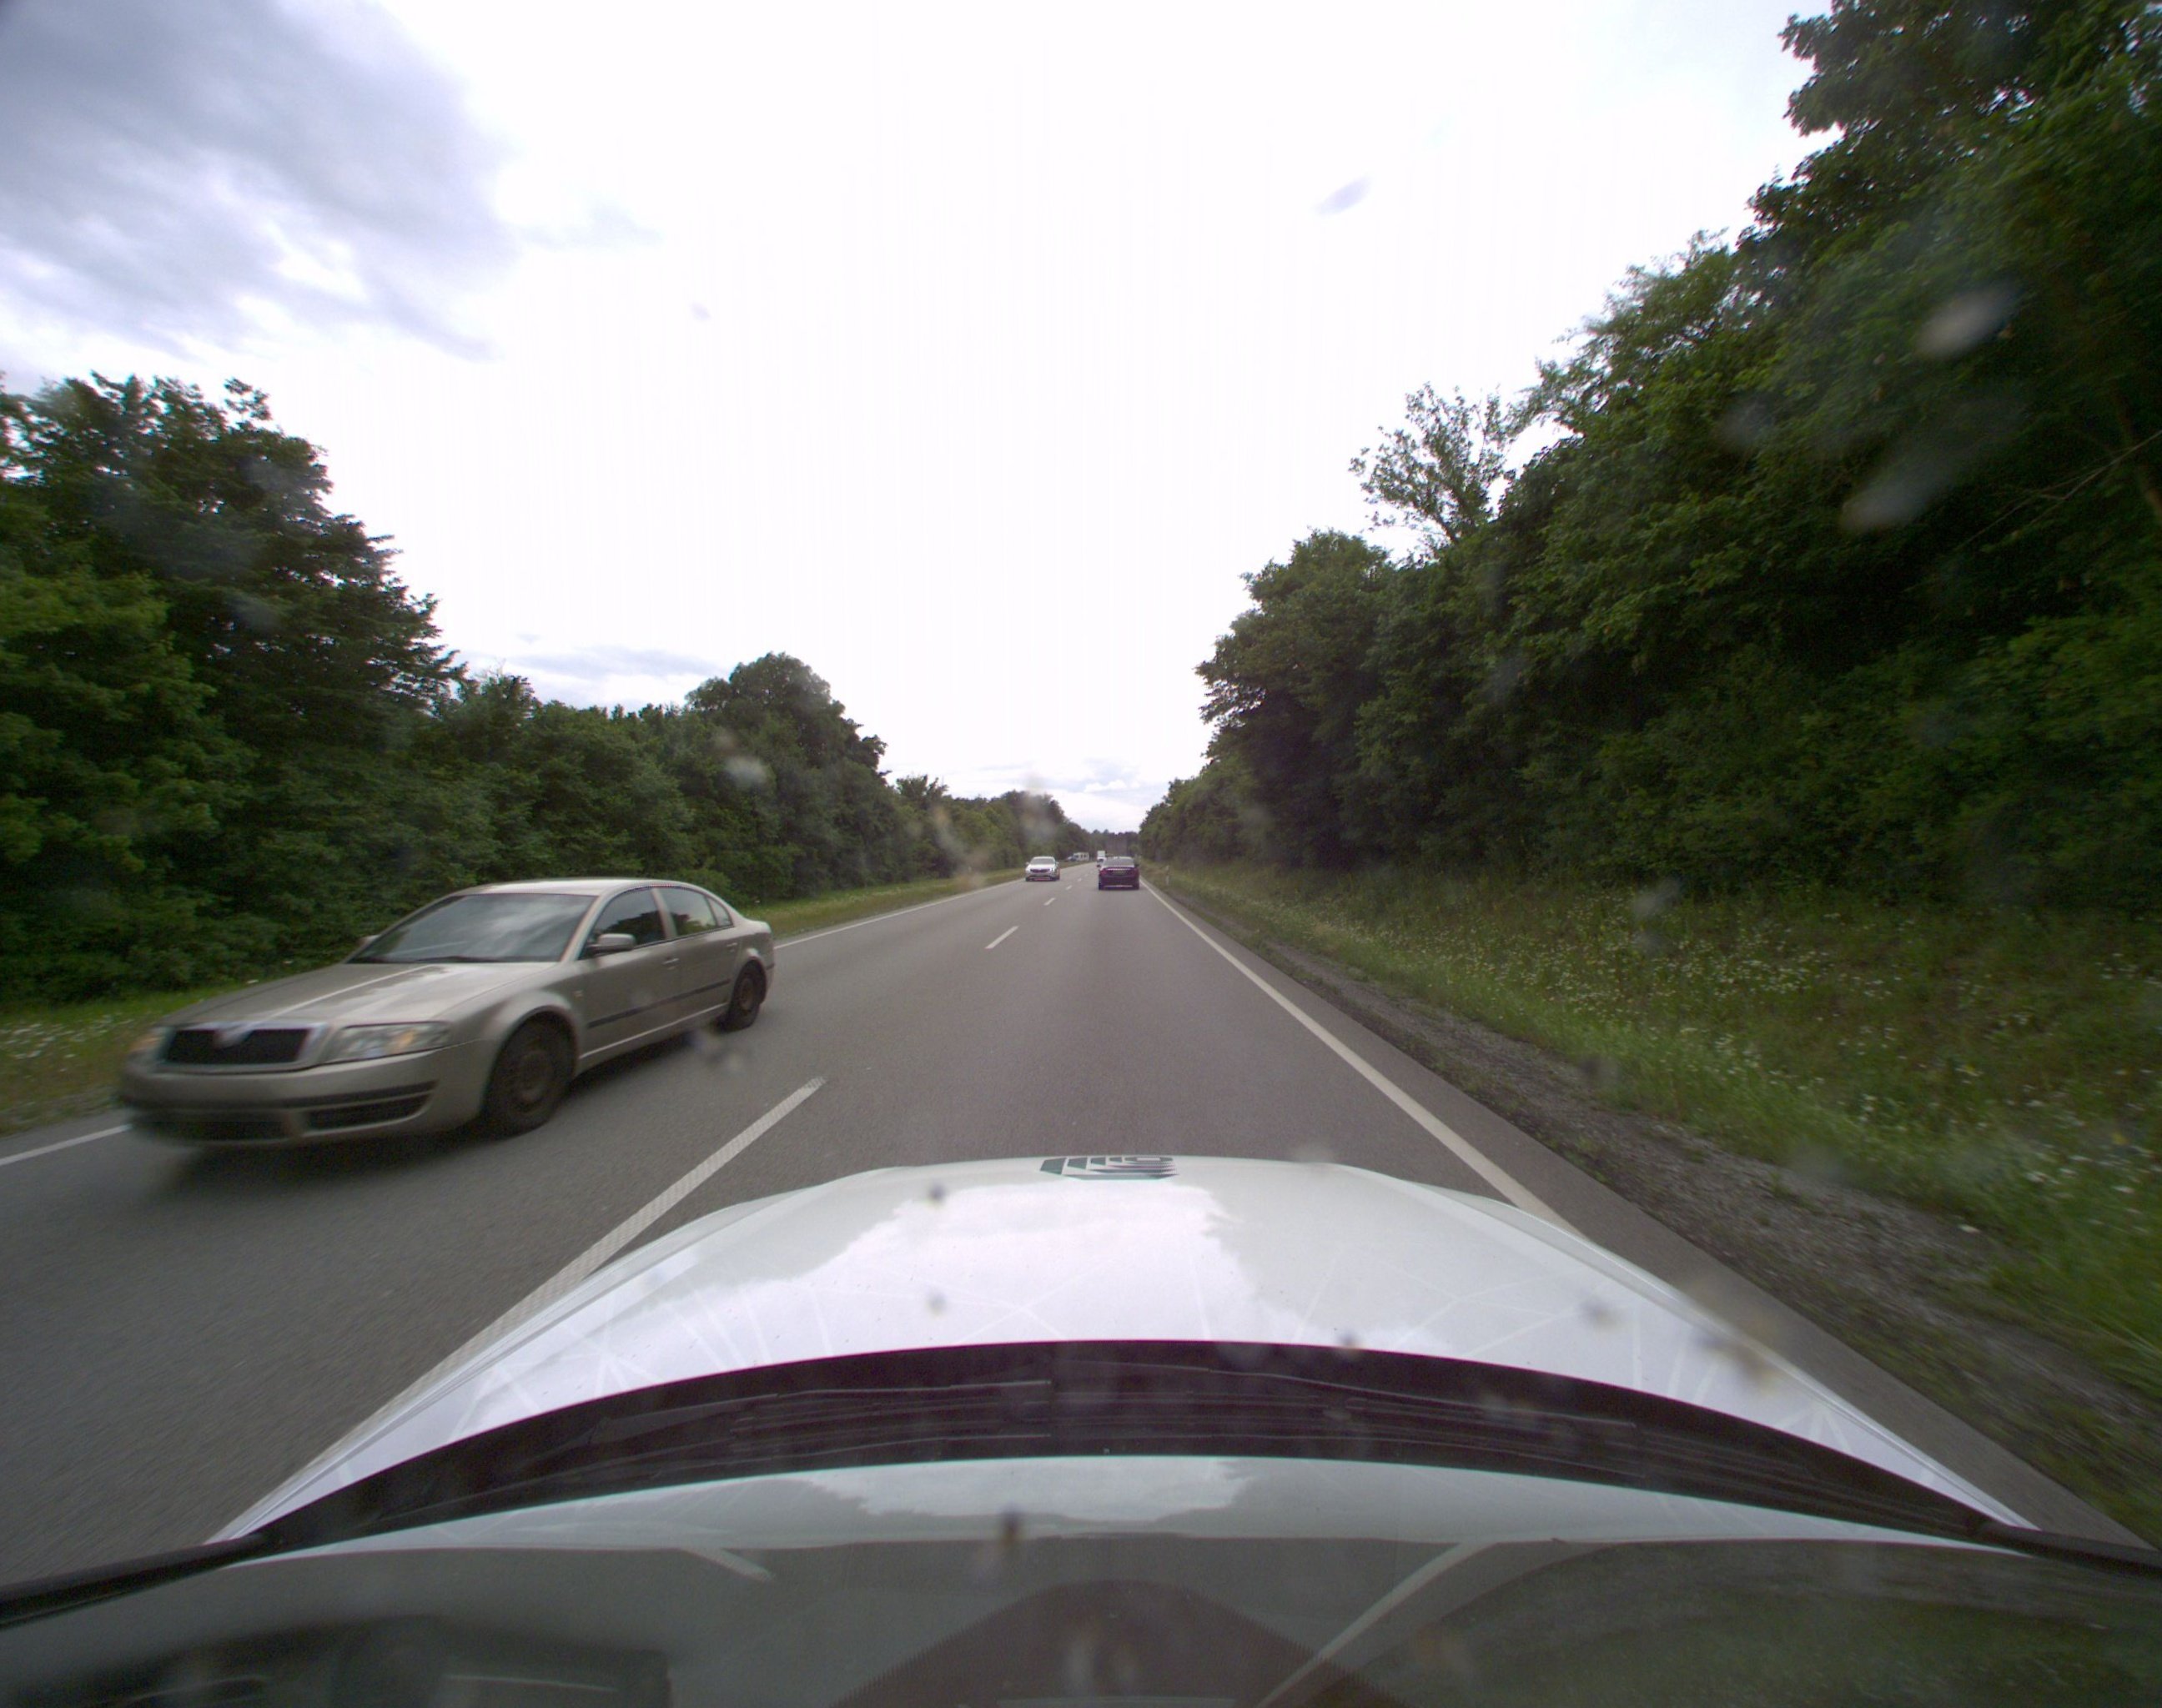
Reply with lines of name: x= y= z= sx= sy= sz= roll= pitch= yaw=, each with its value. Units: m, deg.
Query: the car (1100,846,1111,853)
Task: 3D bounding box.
car: x=5.517 y=-0.967 z=183.503 sx=2.270 sy=1.603 sz=4.694 roll=0 pitch=0 yaw=3

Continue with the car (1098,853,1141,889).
car: x=1.714 y=0.730 z=37.394 sx=1.785 sy=1.552 sz=4.000 roll=0 pitch=0 yaw=0

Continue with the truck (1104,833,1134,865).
truck: x=4.732 y=-0.574 z=99.977 sx=3.266 sy=3.611 sz=11.413 roll=0 pitch=0 yaw=4

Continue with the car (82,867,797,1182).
car: x=-3.849 y=0.850 z=6.135 sx=1.719 sy=1.434 sz=4.504 roll=0 pitch=0 yaw=1

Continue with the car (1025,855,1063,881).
car: x=-2.310 y=0.843 z=52.325 sx=1.956 sy=1.574 sz=5.454 roll=0 pitch=0 yaw=2
